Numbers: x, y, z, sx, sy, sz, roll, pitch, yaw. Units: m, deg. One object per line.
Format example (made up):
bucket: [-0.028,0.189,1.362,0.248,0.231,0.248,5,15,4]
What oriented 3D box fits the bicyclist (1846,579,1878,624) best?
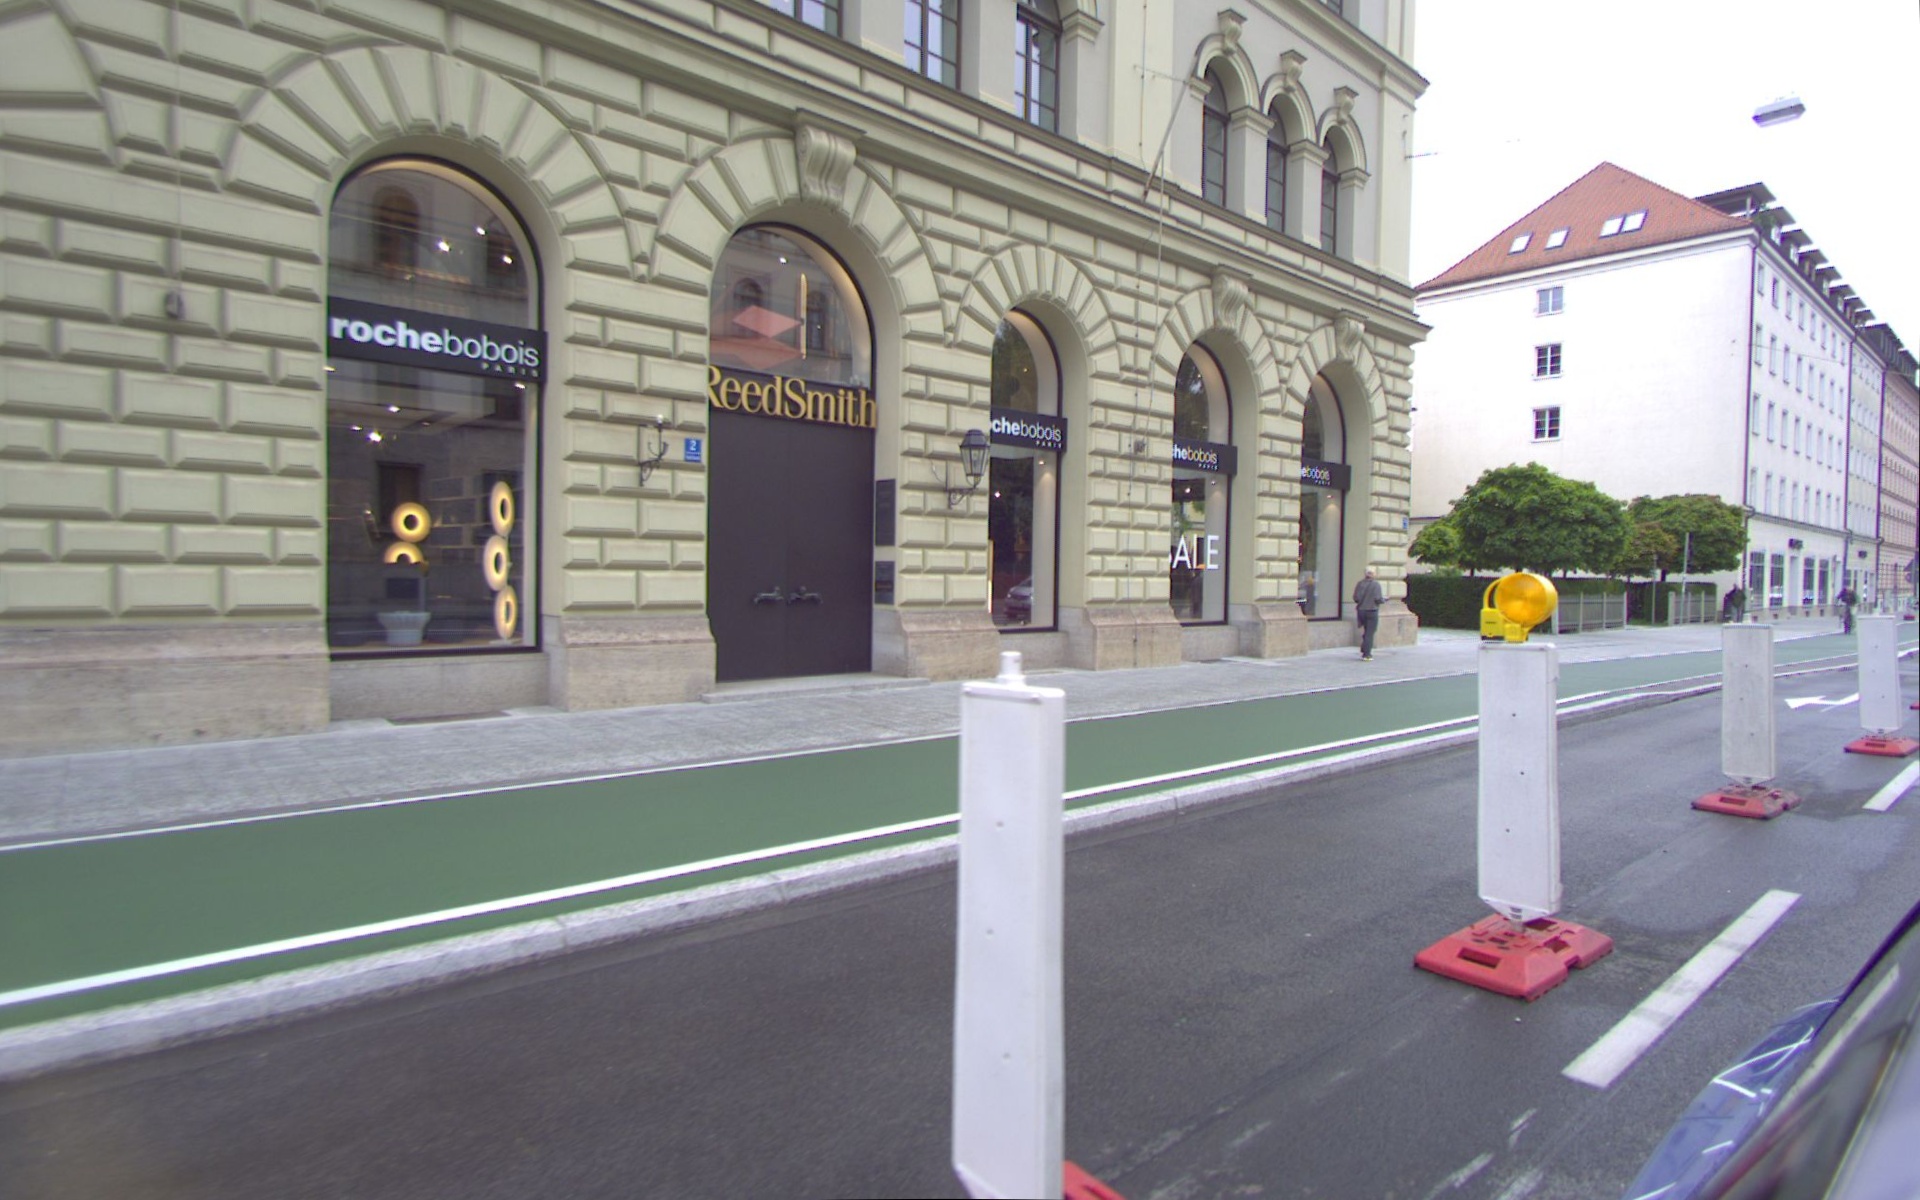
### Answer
bicyclist: [31.709,0.044,35.572,0.843,1.572,0.723,0,0,-41]

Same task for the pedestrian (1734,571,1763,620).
pedestrian: [31.103,-0.195,39.914,0.811,1.897,0.655,0,3,-41]

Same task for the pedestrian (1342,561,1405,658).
pedestrian: [7.656,0.159,18.729,1.067,1.725,0.633,0,2,-41]

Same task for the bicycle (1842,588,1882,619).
bicycle: [31.738,0.096,35.598,2.487,1.045,0.750,0,1,-41]
